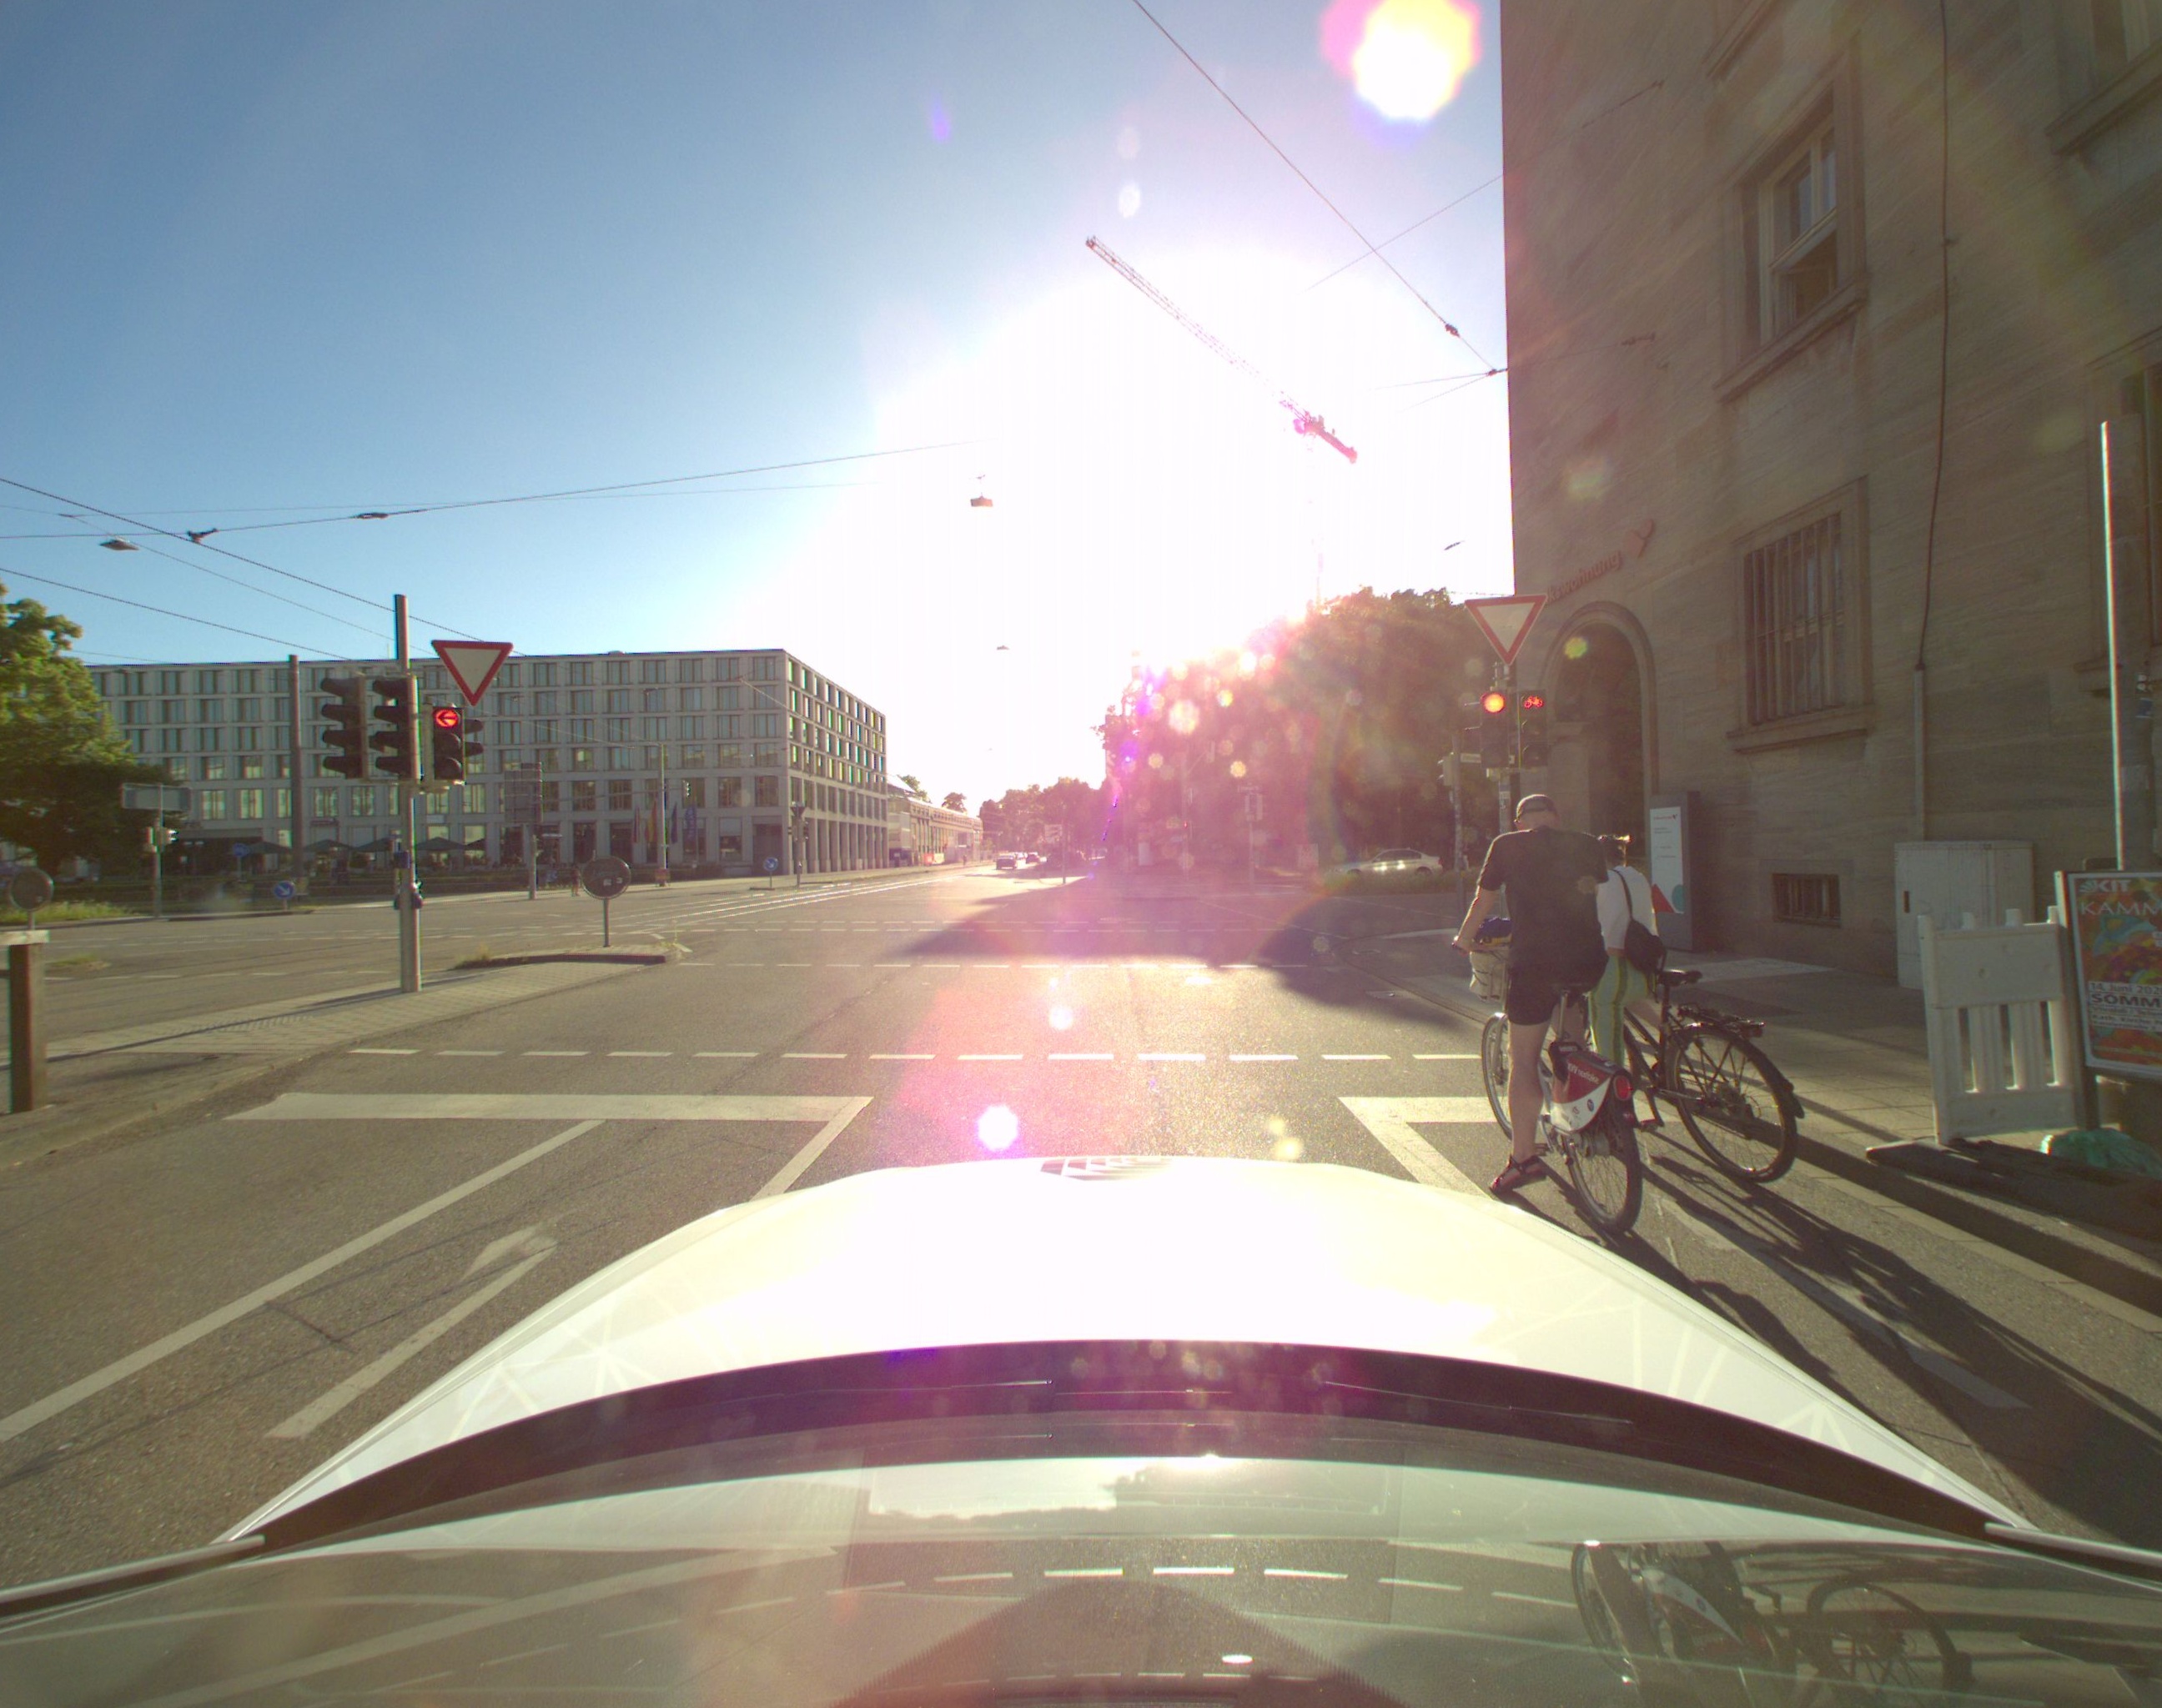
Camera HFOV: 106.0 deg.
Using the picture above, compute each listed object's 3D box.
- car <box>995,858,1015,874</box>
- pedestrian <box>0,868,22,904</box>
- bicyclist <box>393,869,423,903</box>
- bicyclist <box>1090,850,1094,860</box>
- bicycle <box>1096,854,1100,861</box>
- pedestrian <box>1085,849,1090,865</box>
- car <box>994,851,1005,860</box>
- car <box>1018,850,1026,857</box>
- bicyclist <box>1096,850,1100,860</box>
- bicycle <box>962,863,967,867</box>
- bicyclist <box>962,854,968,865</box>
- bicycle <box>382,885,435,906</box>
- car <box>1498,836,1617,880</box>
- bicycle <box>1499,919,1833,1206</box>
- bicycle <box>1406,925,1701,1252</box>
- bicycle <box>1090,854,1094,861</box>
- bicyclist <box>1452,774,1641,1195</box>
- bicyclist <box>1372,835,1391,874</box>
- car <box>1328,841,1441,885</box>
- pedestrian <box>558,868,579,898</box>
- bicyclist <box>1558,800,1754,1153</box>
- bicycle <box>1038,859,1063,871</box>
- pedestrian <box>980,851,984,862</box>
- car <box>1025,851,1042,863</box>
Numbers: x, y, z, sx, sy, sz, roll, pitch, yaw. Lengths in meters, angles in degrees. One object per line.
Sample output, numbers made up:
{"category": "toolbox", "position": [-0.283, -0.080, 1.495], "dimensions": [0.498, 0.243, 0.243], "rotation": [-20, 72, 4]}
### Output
{"category": "car", "position": [-7.455, 1.169, 79.965], "dimensions": [1.656, 1.455, 4.428], "rotation": [-1, 0, -2]}
{"category": "pedestrian", "position": [-60.749, 1.794, 45.983], "dimensions": [0.837, 2.014, 0.827], "rotation": [-1, -1, 11]}
{"category": "bicyclist", "position": [-32.670, 1.555, 39.545], "dimensions": [0.753, 1.589, 0.781], "rotation": [-2, 0, 16]}
{"category": "bicyclist", "position": [1.892, 0.200, 141.695], "dimensions": [0.567, 1.691, 0.700], "rotation": [-2, 0, 1]}
{"category": "bicycle", "position": [2.944, 0.617, 141.548], "dimensions": [0.573, 1.077, 1.831], "rotation": [-2, 0, 1]}
{"category": "pedestrian", "position": [0.755, 0.364, 97.892], "dimensions": [0.462, 1.813, 0.502], "rotation": [-2, 0, -3]}
{"category": "car", "position": [-15.658, 0.269, 157.069], "dimensions": [1.688, 1.718, 4.245], "rotation": [0, -1, -1]}
{"category": "car", "position": [-14.227, -0.111, 195.319], "dimensions": [1.688, 1.718, 4.245], "rotation": [0, -1, -1]}
{"category": "bicyclist", "position": [2.934, 0.162, 141.593], "dimensions": [0.567, 1.691, 0.700], "rotation": [-2, 0, 1]}
{"category": "bicycle", "position": [-15.348, 1.395, 107.535], "dimensions": [0.499, 0.515, 1.258], "rotation": [0, -1, 1]}
{"category": "bicyclist", "position": [-15.340, 0.732, 107.571], "dimensions": [0.594, 1.377, 0.637], "rotation": [0, -1, 0]}
{"category": "bicycle", "position": [-32.645, 2.011, 39.547], "dimensions": [0.755, 0.935, 1.871], "rotation": [-2, 0, 14]}
{"category": "car", "position": [19.218, 0.158, 32.973], "dimensions": [3.835, 1.611, 1.650], "rotation": [-2, 0, 1]}
{"category": "bicycle", "position": [2.945, 0.957, 4.349], "dimensions": [0.532, 1.077, 1.751], "rotation": [-1, 0, 1]}
{"category": "bicycle", "position": [2.123, 0.956, 3.933], "dimensions": [0.513, 1.077, 1.729], "rotation": [-1, 0, 4]}
{"category": "bicycle", "position": [1.912, 0.618, 141.705], "dimensions": [0.573, 1.077, 1.831], "rotation": [-2, 0, 1]}
{"category": "bicyclist", "position": [2.125, 0.560, 3.776], "dimensions": [0.556, 1.799, 0.551], "rotation": [-1, 0, 3]}
{"category": "bicyclist", "position": [13.215, 0.005, 35.813], "dimensions": [0.640, 1.683, 0.508], "rotation": [-2, 0, 7]}
{"category": "car", "position": [12.350, 0.352, 33.251], "dimensions": [3.979, 1.611, 1.650], "rotation": [-2, 0, 1]}
{"category": "pedestrian", "position": [-28.645, 1.612, 45.527], "dimensions": [0.775, 1.589, 0.589], "rotation": [-2, 0, -10]}
{"category": "bicyclist", "position": [2.956, 0.590, 4.242], "dimensions": [0.556, 1.691, 0.640], "rotation": [-1, 0, 0]}
{"category": "bicycle", "position": [-2.566, 0.907, 67.700], "dimensions": [1.996, 0.891, 0.655], "rotation": [-4, -1, 29]}
{"category": "pedestrian", "position": [-18.662, 0.467, 154.102], "dimensions": [0.672, 2.014, 0.751], "rotation": [0, -1, -1]}
{"category": "car", "position": [-6.500, 0.398, 112.597], "dimensions": [1.885, 1.565, 4.810], "rotation": [1, 0, 2]}
